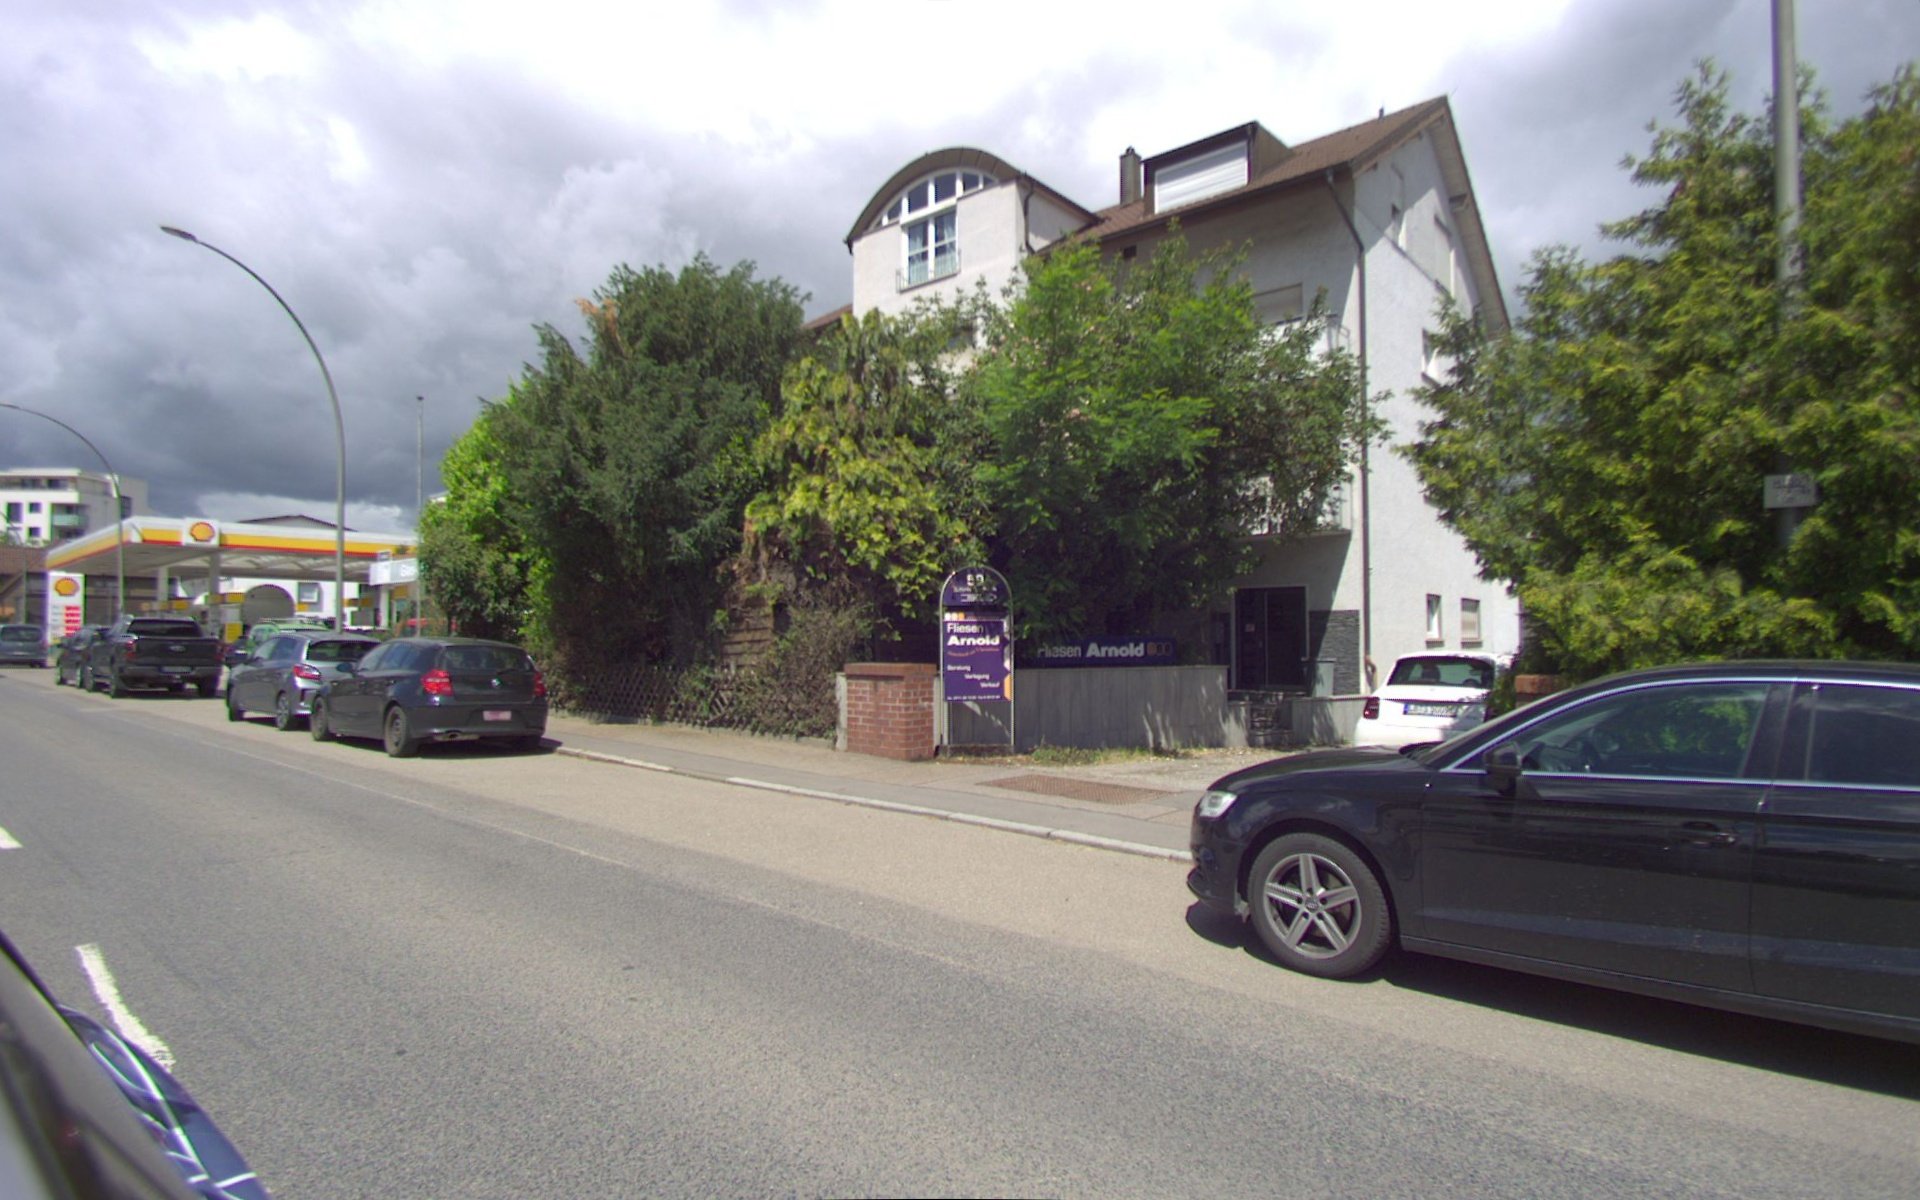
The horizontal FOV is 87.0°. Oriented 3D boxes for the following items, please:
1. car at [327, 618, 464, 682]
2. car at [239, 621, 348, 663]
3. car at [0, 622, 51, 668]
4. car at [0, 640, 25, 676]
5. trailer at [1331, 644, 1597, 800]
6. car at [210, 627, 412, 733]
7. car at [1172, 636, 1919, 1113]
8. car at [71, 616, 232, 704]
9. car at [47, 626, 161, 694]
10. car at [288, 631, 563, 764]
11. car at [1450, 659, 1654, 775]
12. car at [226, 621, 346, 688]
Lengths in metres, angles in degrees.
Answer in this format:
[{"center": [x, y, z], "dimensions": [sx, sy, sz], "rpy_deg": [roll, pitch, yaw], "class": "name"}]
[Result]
[{"center": [-17.555, 1.505, 31.443], "dimensions": [4.322, 1.799, 1.779], "rpy_deg": [-1, 1, 31], "class": "car"}, {"center": [-31.325, 1.943, 47.773], "dimensions": [1.947, 1.866, 4.983], "rpy_deg": [0, -2, -1], "class": "car"}, {"center": [-38.827, 1.850, 41.492], "dimensions": [4.188, 1.751, 1.711], "rpy_deg": [-2, -6, 41], "class": "car"}, {"center": [-42.801, 2.509, 44.708], "dimensions": [4.188, 1.526, 1.645], "rpy_deg": [-2, -6, 41], "class": "car"}, {"center": [5.945, 1.346, 11.715], "dimensions": [1.800, 1.470, 3.944], "rpy_deg": [-2, -6, 41], "class": "trailer"}, {"center": [-10.601, 1.261, 16.439], "dimensions": [3.942, 1.523, 1.645], "rpy_deg": [-2, -6, 41], "class": "car"}, {"center": [3.150, 0.871, 3.918], "dimensions": [4.336, 1.425, 1.645], "rpy_deg": [-2, -4, 41], "class": "car"}, {"center": [-19.093, 1.402, 23.802], "dimensions": [5.427, 1.835, 1.891], "rpy_deg": [-2, -6, 41], "class": "car"}, {"center": [-23.220, 1.613, 27.402], "dimensions": [4.524, 1.693, 1.645], "rpy_deg": [-2, -4, 41], "class": "car"}, {"center": [-6.998, 1.170, 13.050], "dimensions": [4.336, 1.446, 1.645], "rpy_deg": [-2, -5, 41], "class": "car"}, {"center": [9.008, 1.689, 15.261], "dimensions": [1.999, 1.462, 3.946], "rpy_deg": [-2, -5, 40], "class": "car"}, {"center": [-19.594, 1.544, 29.359], "dimensions": [4.335, 1.799, 1.774], "rpy_deg": [-2, -2, 40], "class": "car"}]
